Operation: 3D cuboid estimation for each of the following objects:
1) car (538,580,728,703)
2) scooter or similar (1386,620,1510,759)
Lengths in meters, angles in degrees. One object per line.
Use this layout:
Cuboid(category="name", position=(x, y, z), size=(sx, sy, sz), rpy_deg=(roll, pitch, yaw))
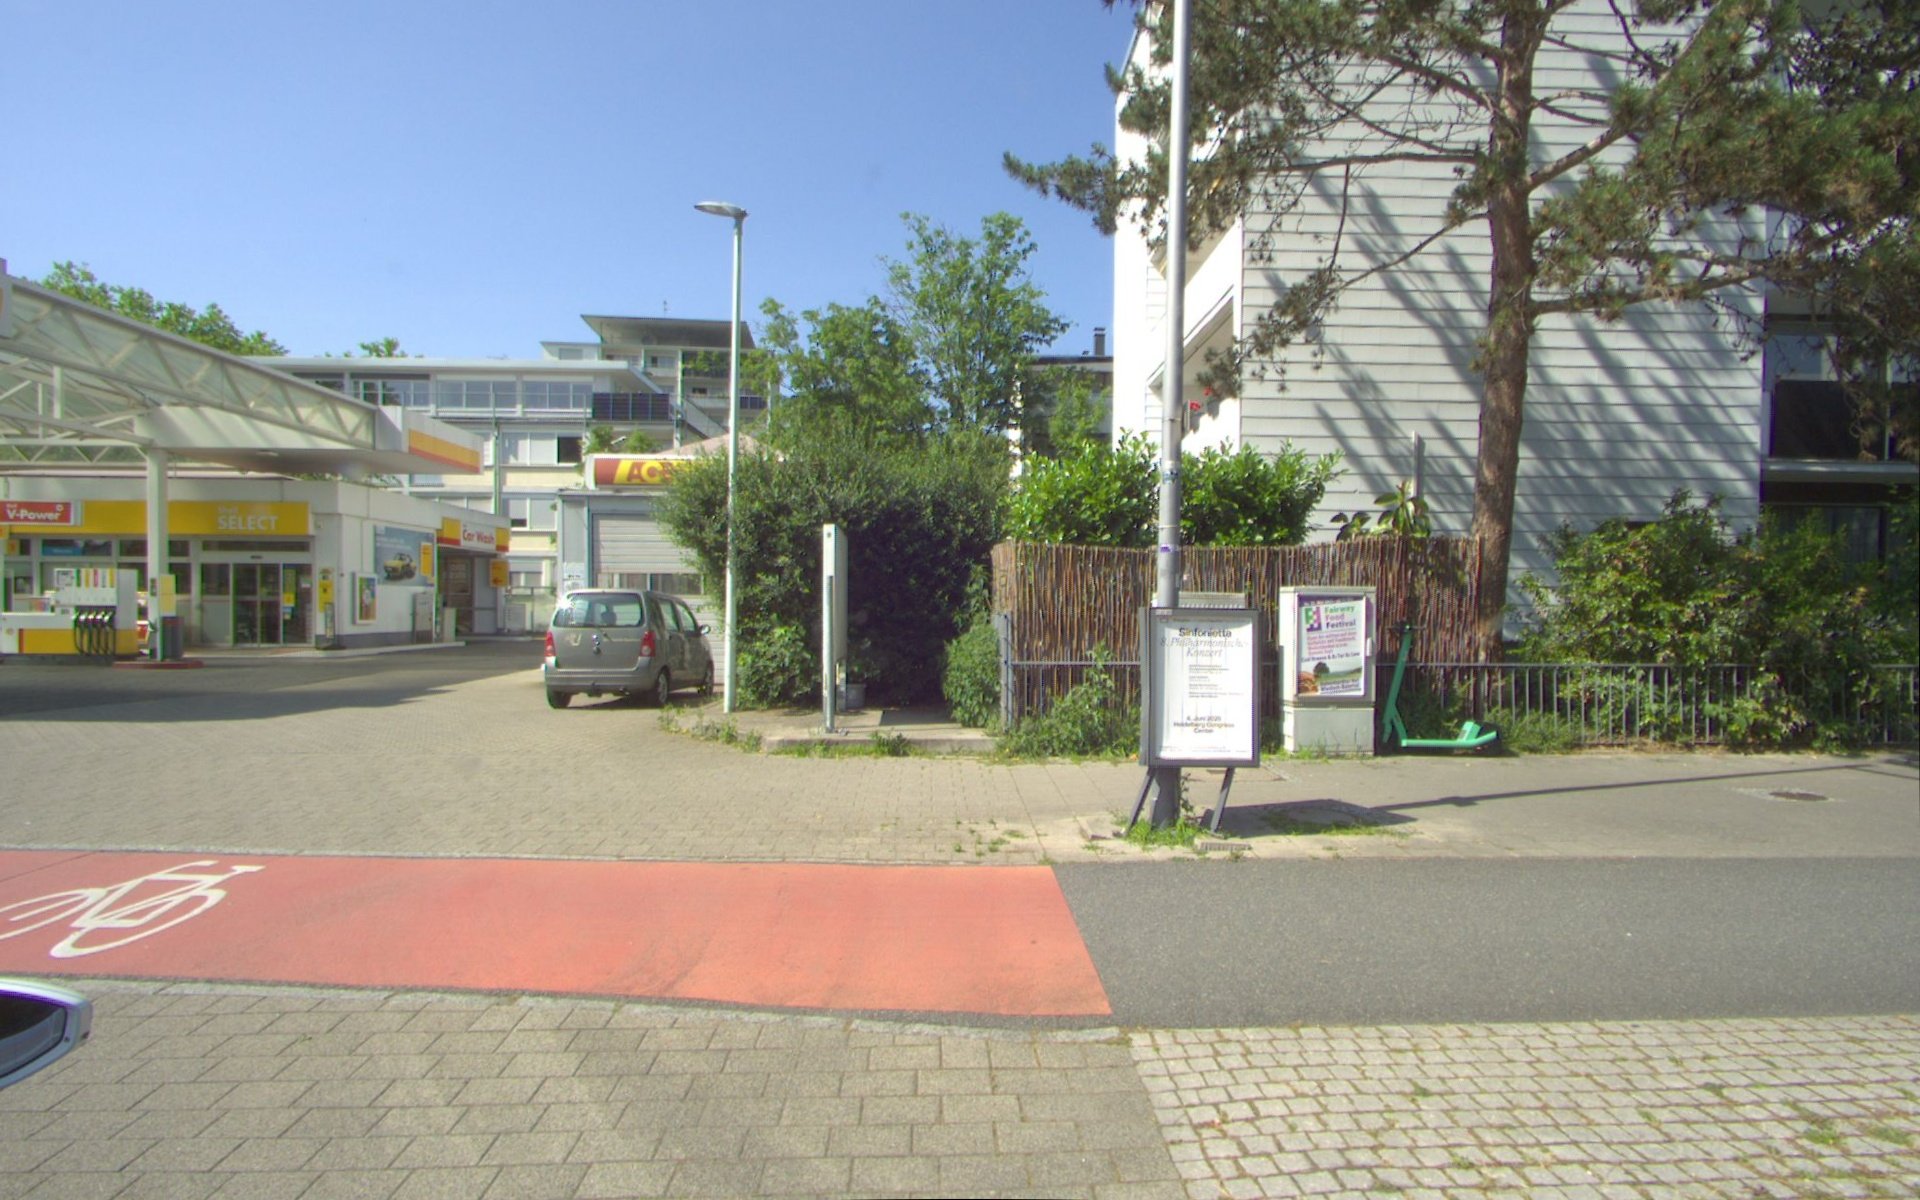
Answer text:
Cuboid(category="car", position=(-4.767, 0.572, 15.155), size=(1.559, 1.617, 3.833), rpy_deg=(0, -1, 1))
Cuboid(category="scooter or similar", position=(4.245, 0.768, 8.731), size=(0.939, 1.181, 0.231), rpy_deg=(1, 0, 6))
